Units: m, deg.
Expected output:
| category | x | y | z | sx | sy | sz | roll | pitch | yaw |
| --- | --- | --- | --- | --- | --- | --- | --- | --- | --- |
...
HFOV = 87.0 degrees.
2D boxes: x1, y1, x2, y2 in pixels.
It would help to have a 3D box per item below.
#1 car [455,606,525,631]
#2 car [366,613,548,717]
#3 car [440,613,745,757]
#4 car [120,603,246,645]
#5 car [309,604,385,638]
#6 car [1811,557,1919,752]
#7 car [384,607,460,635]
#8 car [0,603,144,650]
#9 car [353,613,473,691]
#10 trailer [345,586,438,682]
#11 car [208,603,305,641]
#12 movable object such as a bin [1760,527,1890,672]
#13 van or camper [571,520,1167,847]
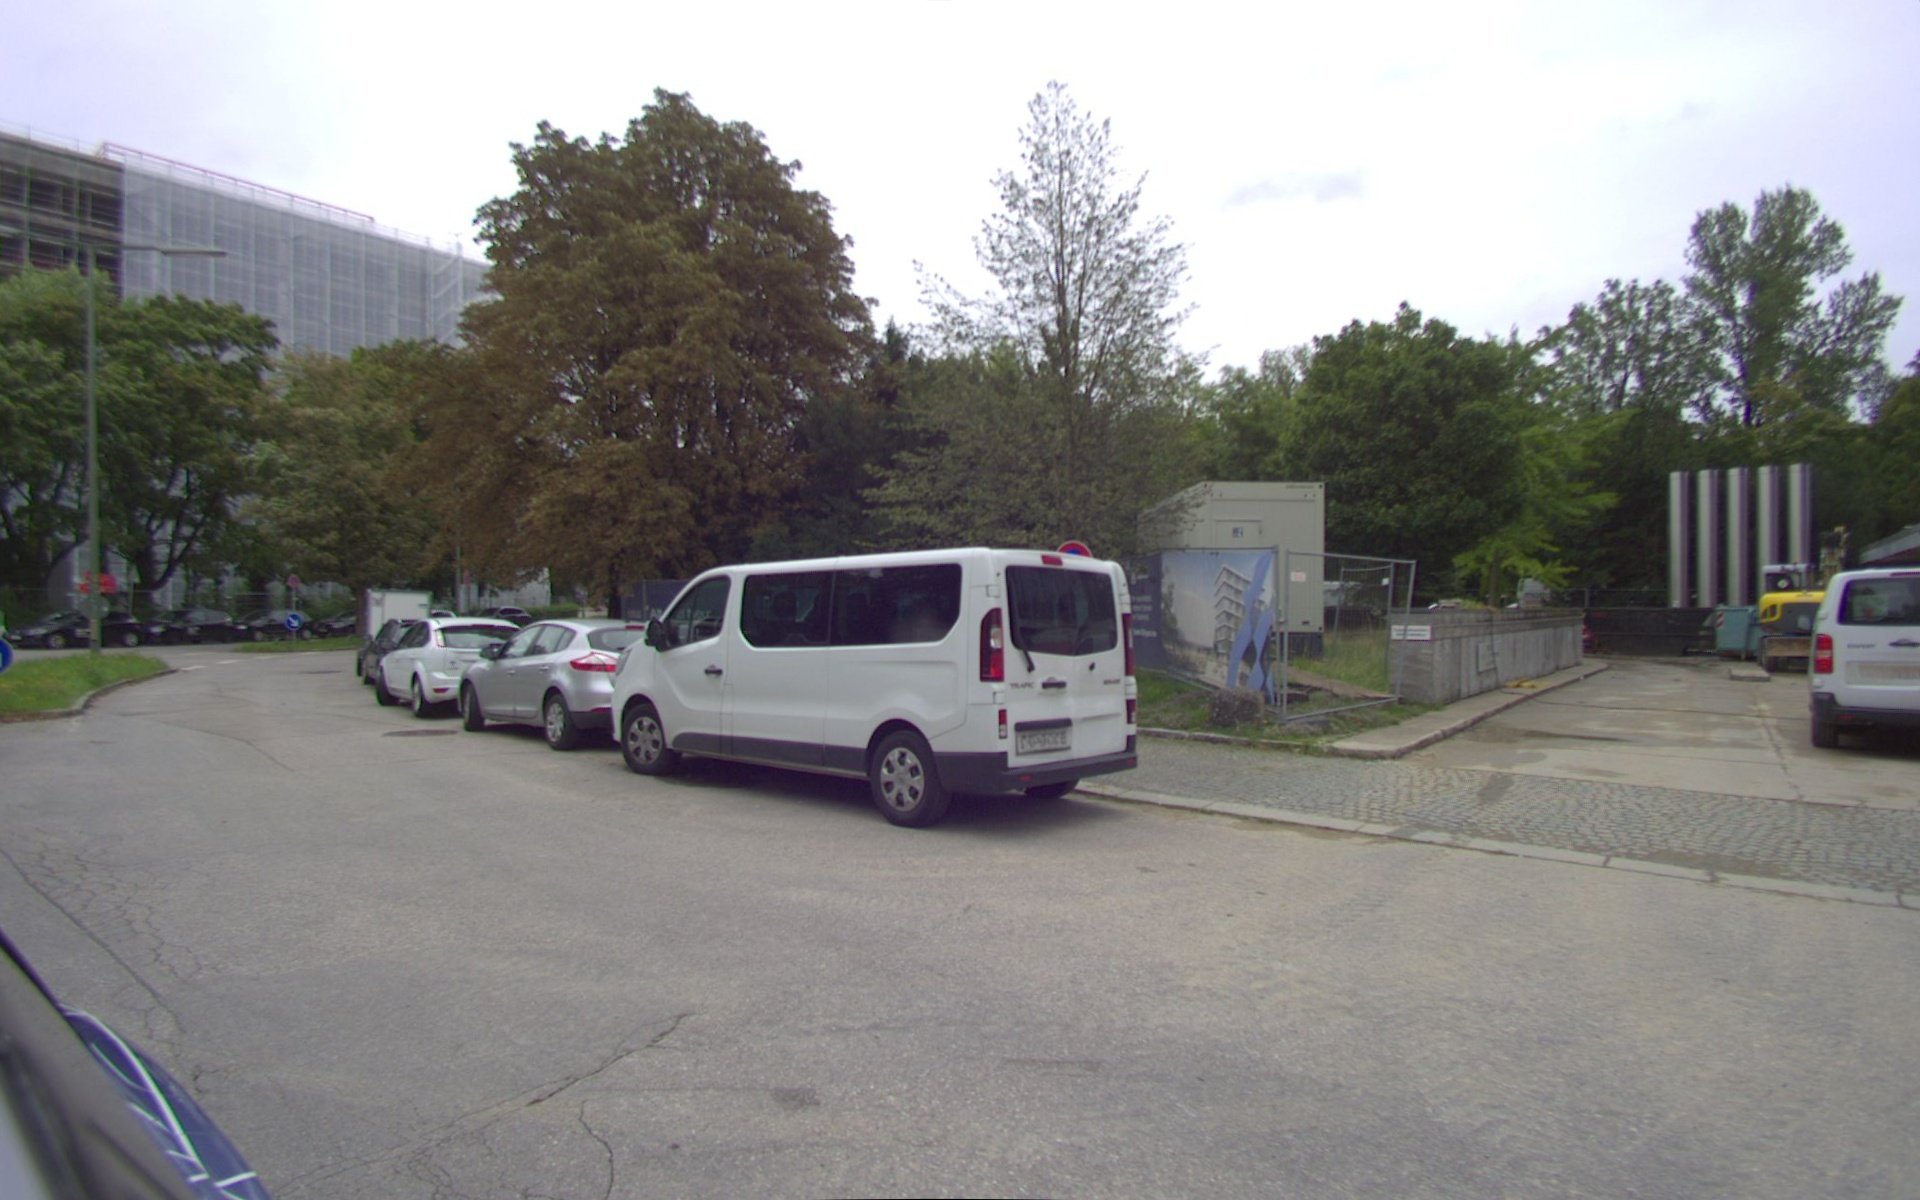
| category | x | y | z | sx | sy | sz | roll | pitch | yaw |
| --- | --- | --- | --- | --- | --- | --- | --- | --- | --- |
| car | -27.411 | 1.056 | 59.125 | 1.511 | 1.397 | 3.692 | 1 | 0 | 22 |
| car | -8.206 | 0.968 | 16.323 | 1.715 | 1.470 | 4.038 | 3 | -3 | -39 |
| car | -4.685 | 0.935 | 12.610 | 4.121 | 1.470 | 1.971 | -1 | -3 | 45 |
| car | -31.556 | 0.951 | 41.246 | 1.770 | 1.584 | 3.874 | 1 | 0 | 10 |
| car | -30.133 | 0.999 | 49.822 | 1.509 | 1.584 | 2.895 | 1 | 0 | 19 |
| car | 10.841 | 0.528 | 11.441 | 1.781 | 1.879 | 4.652 | -1 | -1 | 39 |
| car | -29.089 | 1.119 | 54.816 | 1.507 | 1.397 | 3.701 | 1 | 0 | 15 |
| car | -32.304 | 0.928 | 36.758 | 1.773 | 1.584 | 3.868 | 1 | 0 | 15 |
| car | -11.263 | 1.018 | 20.723 | 1.667 | 1.423 | 3.804 | 3 | -2 | -36 |
| trailer | -13.842 | 0.811 | 24.791 | 1.752 | 2.198 | 2.786 | 2 | -1 | -26 |
| car | -31.220 | 0.966 | 44.993 | 1.645 | 1.584 | 3.246 | 1 | 0 | 16 |
| movable object such as a bin | 24.056 | 0.002 | 28.195 | 2.580 | 3.655 | 4.540 | 0 | -1 | 41 |
| van or camper | -1.124 | 0.591 | 8.960 | 5.584 | 2.050 | 1.968 | -1 | -3 | 42 |
